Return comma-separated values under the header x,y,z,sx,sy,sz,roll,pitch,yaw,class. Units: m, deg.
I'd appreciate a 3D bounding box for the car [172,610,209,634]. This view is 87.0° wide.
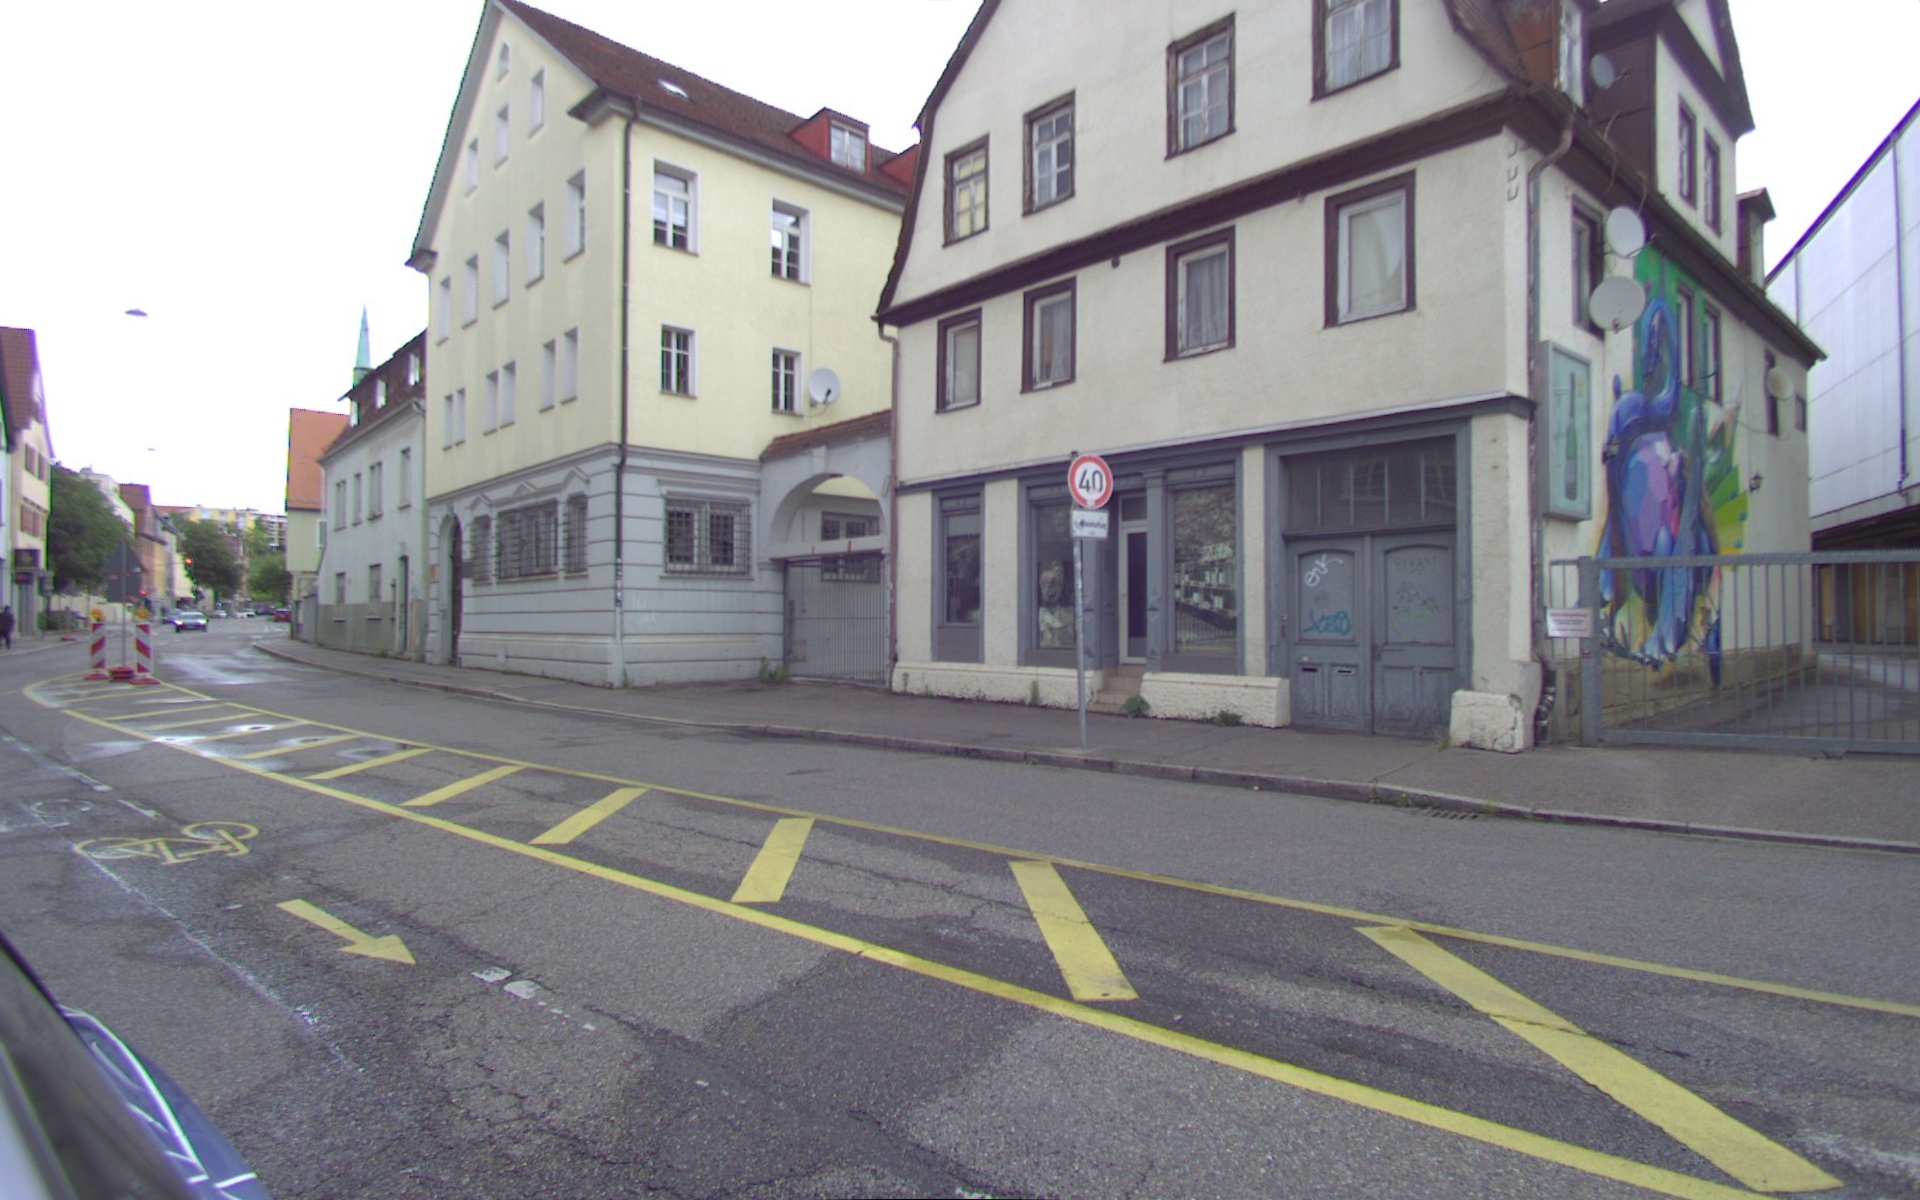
x,y,z,sx,sy,sz,roll,pitch,yaw,class
-56.514,1.572,74.405,1.967,1.691,4.010,0,0,-34,car

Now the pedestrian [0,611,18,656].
x,y,z,sx,sy,sz,roll,pitch,yaw,class
-36.378,1.268,38.356,0.820,1.668,0.946,0,-2,-34,pedestrian

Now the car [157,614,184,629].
x,y,z,sx,sy,sz,roll,pitch,yaw,class
-84.981,2.290,108.995,2.001,1.567,4.010,2,-2,-35,car

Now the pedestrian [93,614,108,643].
x,y,z,sx,sy,sz,roll,pitch,yaw,class
-71.063,2.352,83.689,0.888,2.328,0.822,1,-2,-36,pedestrian

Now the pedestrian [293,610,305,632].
x,y,z,sx,sy,sz,roll,pitch,yaw,class
-66.998,2.123,102.552,0.746,2.138,0.785,0,-2,-15,pedestrian

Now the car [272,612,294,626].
x,y,z,sx,sy,sz,roll,pitch,yaw,class
-85.892,2.451,128.425,2.178,1.690,4.509,2,-2,-36,car

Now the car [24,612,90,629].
x,y,z,sx,sy,sz,roll,pitch,yaw,class
-77.438,1.742,86.895,3.932,1.475,2.006,0,0,-33,car
